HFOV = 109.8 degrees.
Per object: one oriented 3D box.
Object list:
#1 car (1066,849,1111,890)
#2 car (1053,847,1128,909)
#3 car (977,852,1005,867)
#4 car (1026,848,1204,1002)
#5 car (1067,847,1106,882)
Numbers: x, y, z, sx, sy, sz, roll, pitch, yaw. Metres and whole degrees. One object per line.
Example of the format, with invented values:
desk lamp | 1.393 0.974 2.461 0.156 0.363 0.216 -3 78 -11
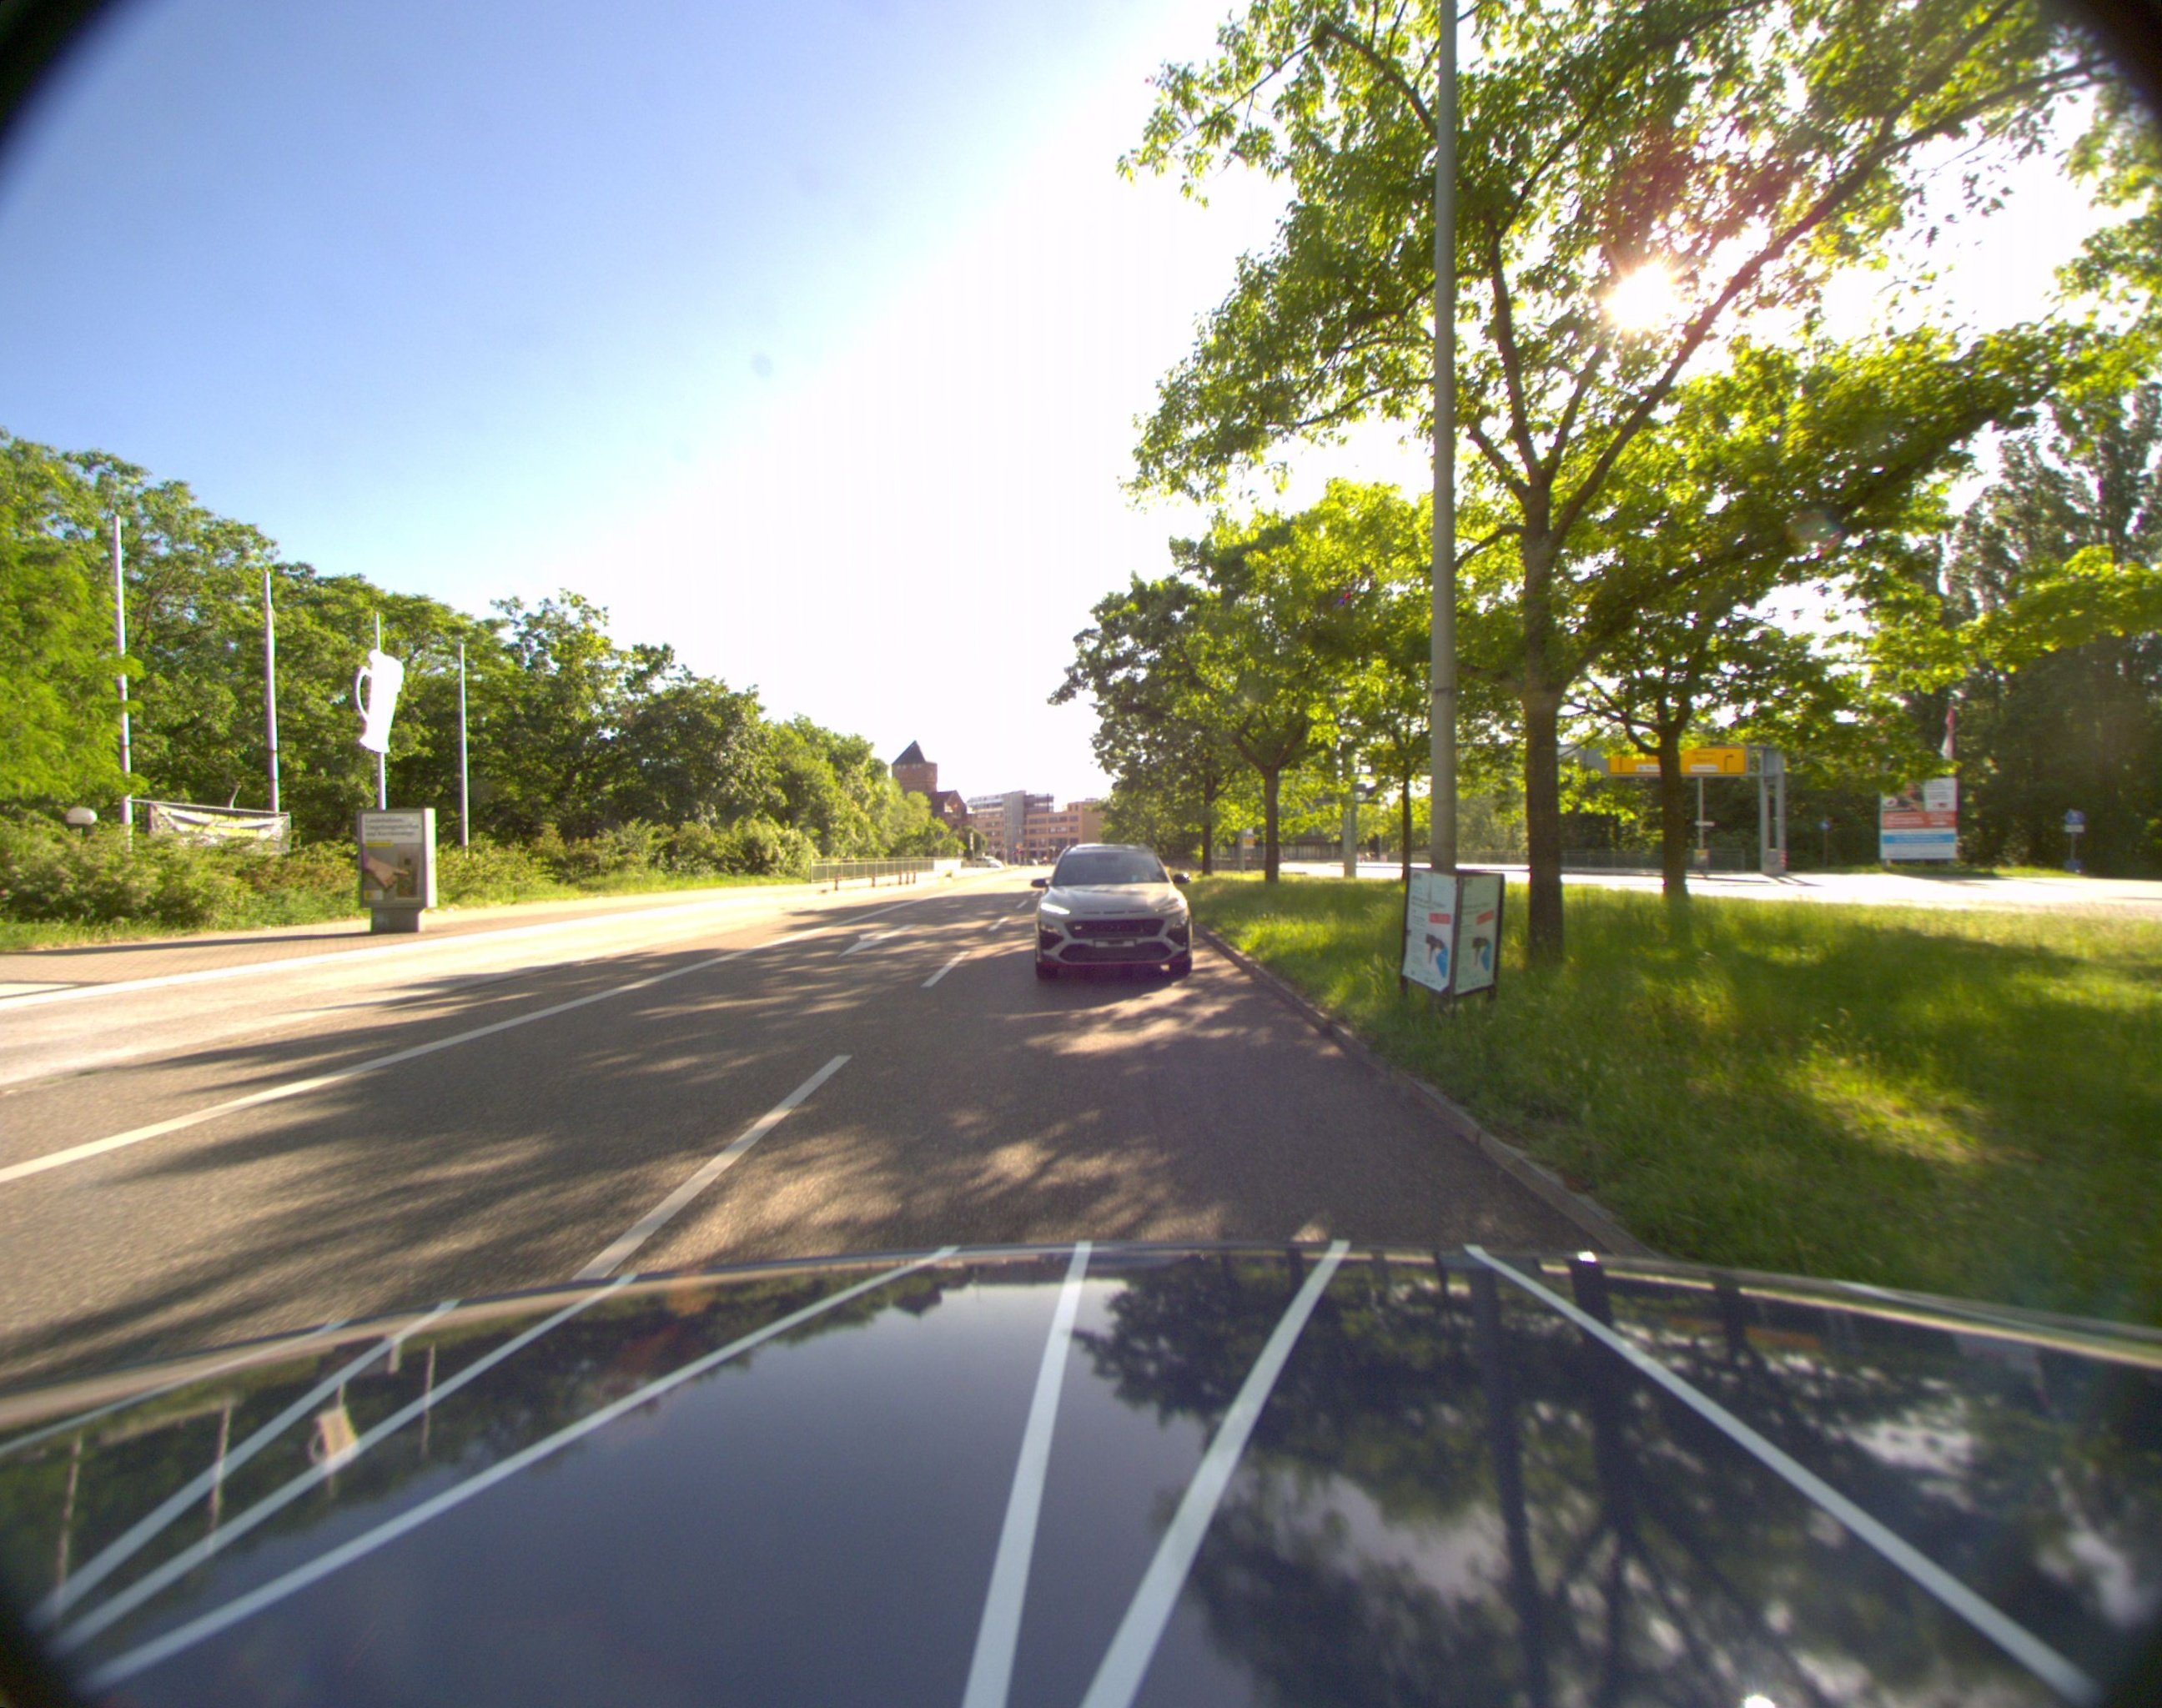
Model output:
car | 0.300 0.565 30.464 1.678 1.499 3.948 -1 1 1
car | 0.369 0.615 21.699 1.744 1.539 4.001 -2 0 6
car | -12.665 0.757 106.810 3.992 1.537 1.751 -9 -11 42
car | 0.410 0.715 9.702 1.780 1.542 3.980 -1 0 2
car | 0.316 0.496 38.661 1.833 1.638 4.000 -1 1 1
